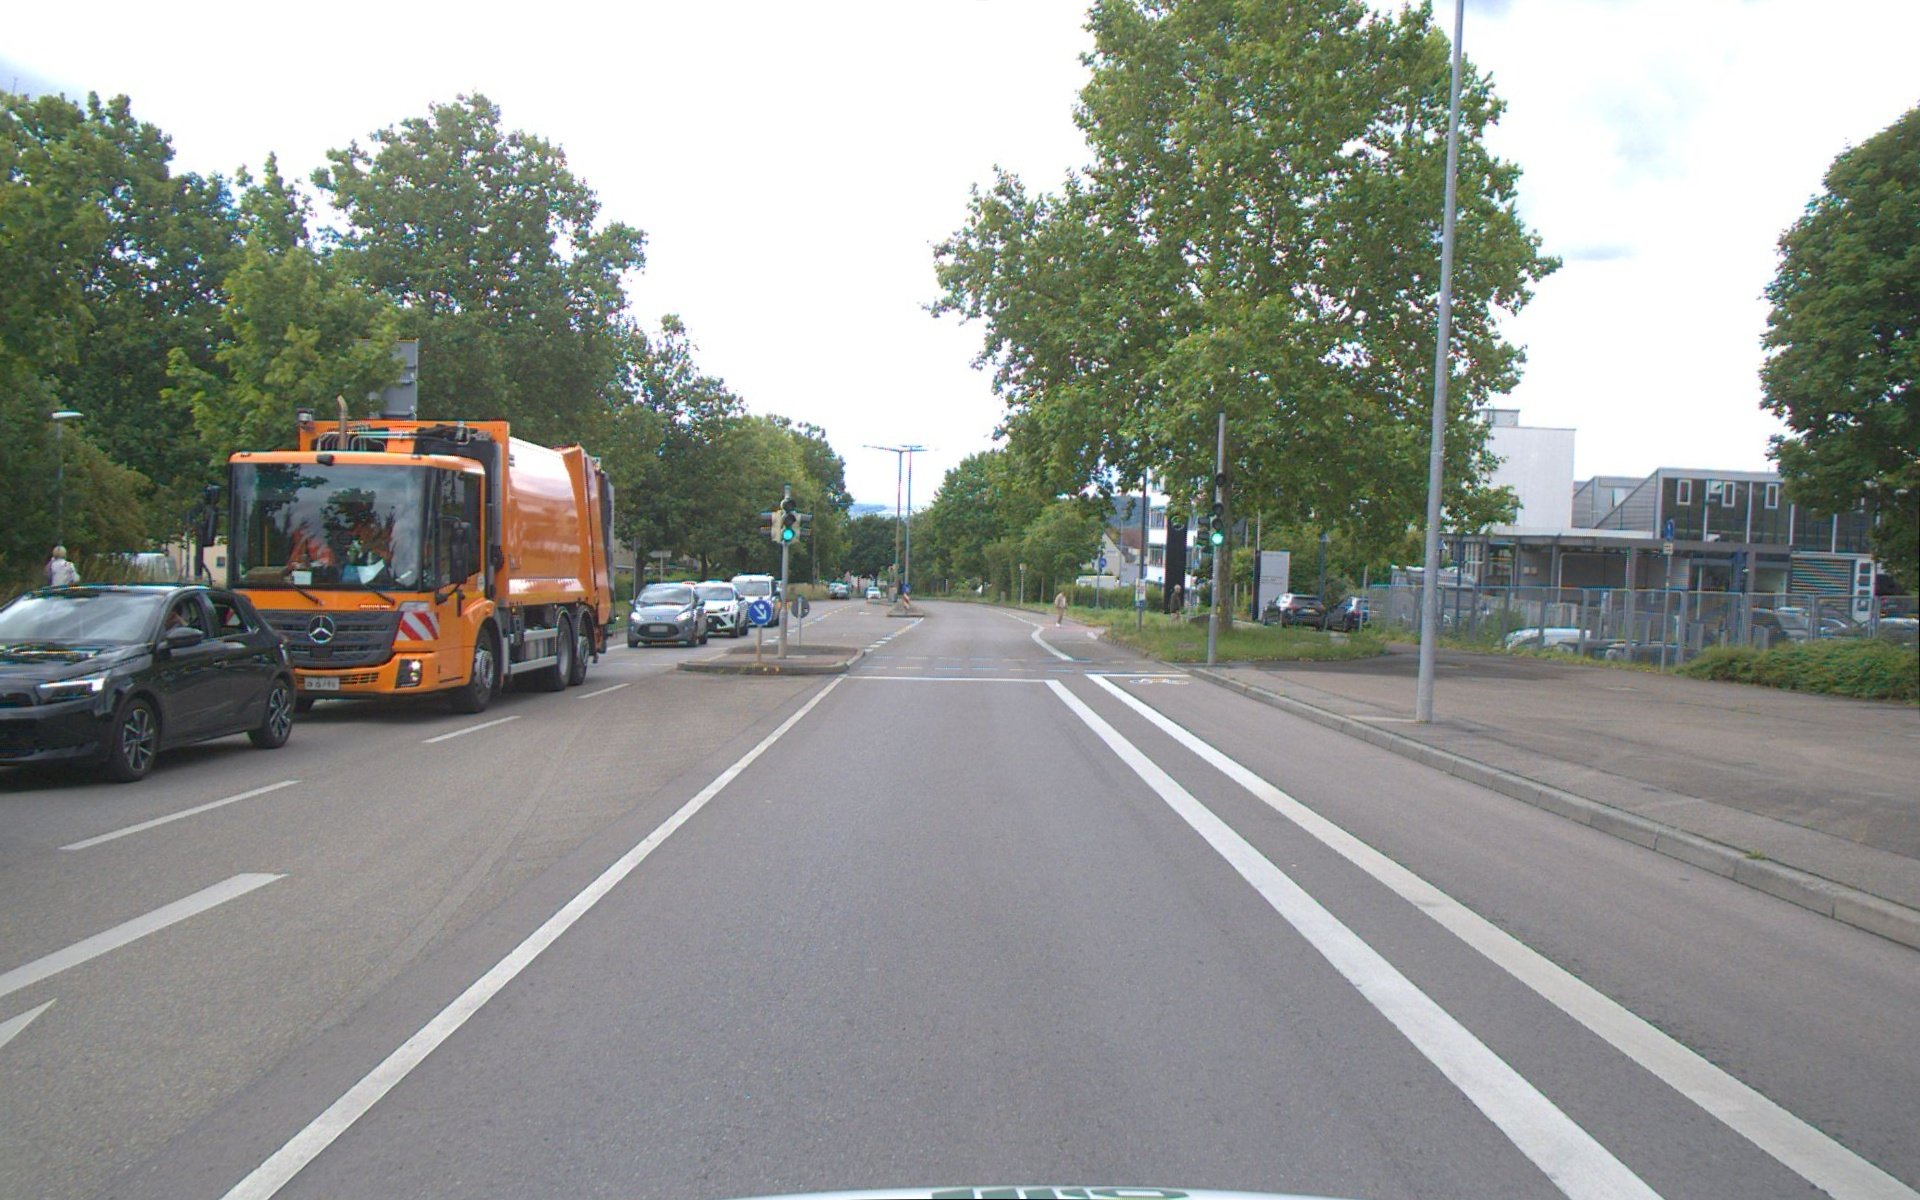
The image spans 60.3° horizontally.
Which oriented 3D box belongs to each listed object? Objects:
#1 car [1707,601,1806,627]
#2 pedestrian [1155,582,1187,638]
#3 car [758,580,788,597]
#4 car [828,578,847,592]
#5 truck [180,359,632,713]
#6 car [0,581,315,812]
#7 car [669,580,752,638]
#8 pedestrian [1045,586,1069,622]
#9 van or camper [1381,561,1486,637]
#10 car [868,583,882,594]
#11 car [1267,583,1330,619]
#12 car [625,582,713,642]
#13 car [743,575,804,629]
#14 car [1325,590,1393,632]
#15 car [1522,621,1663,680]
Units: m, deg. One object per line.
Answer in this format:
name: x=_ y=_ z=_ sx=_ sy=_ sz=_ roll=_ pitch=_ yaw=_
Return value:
car: x=34.261 y=0.596 z=71.175 sx=3.566 sy=0.995 sz=1.412 roll=2 pitch=1 yaw=-2
pedestrian: x=7.111 y=0.331 z=55.708 sx=0.733 sy=1.833 sz=0.859 roll=1 pitch=1 yaw=34
car: x=-15.167 y=-0.916 z=134.482 sx=1.637 sy=1.327 sz=4.003 roll=2 pitch=1 yaw=5
car: x=-12.848 y=-1.566 z=173.586 sx=1.736 sy=1.327 sz=3.999 roll=2 pitch=1 yaw=-1
truck: x=-6.677 y=-0.749 z=21.972 sx=2.651 sy=3.547 sz=9.994 roll=2 pitch=1 yaw=-1
car: x=-6.552 y=0.632 z=13.092 sx=1.405 sy=1.483 sz=3.894 roll=2 pitch=1 yaw=-1
car: x=-7.115 y=0.215 z=47.642 sx=1.809 sy=1.547 sz=4.814 roll=0 pitch=1 yaw=-2
pedestrian: x=4.097 y=0.162 z=69.741 sx=0.777 sy=1.489 sz=0.745 roll=1 pitch=1 yaw=-20
van or camper: x=19.245 y=-0.082 z=67.624 sx=1.926 sy=2.918 sz=6.916 roll=1 pitch=1 yaw=-3
car: x=-10.909 y=-1.533 z=212.315 sx=1.579 sy=1.327 sz=3.999 roll=2 pitch=1 yaw=-1
car: x=13.861 y=0.037 z=67.875 sx=1.675 sy=1.377 sz=4.344 roll=1 pitch=1 yaw=0
car: x=-6.909 y=0.257 z=39.557 sx=1.516 sy=1.354 sz=3.653 roll=0 pitch=1 yaw=-2
car: x=-6.572 y=0.038 z=58.666 sx=1.809 sy=1.835 sz=4.649 roll=0 pitch=1 yaw=-2
car: x=16.429 y=0.418 z=68.336 sx=1.676 sy=1.534 sz=4.344 roll=3 pitch=1 yaw=0
car: x=19.496 y=1.538 z=51.027 sx=3.661 sy=1.646 sz=1.690 roll=2 pitch=0 yaw=-6
